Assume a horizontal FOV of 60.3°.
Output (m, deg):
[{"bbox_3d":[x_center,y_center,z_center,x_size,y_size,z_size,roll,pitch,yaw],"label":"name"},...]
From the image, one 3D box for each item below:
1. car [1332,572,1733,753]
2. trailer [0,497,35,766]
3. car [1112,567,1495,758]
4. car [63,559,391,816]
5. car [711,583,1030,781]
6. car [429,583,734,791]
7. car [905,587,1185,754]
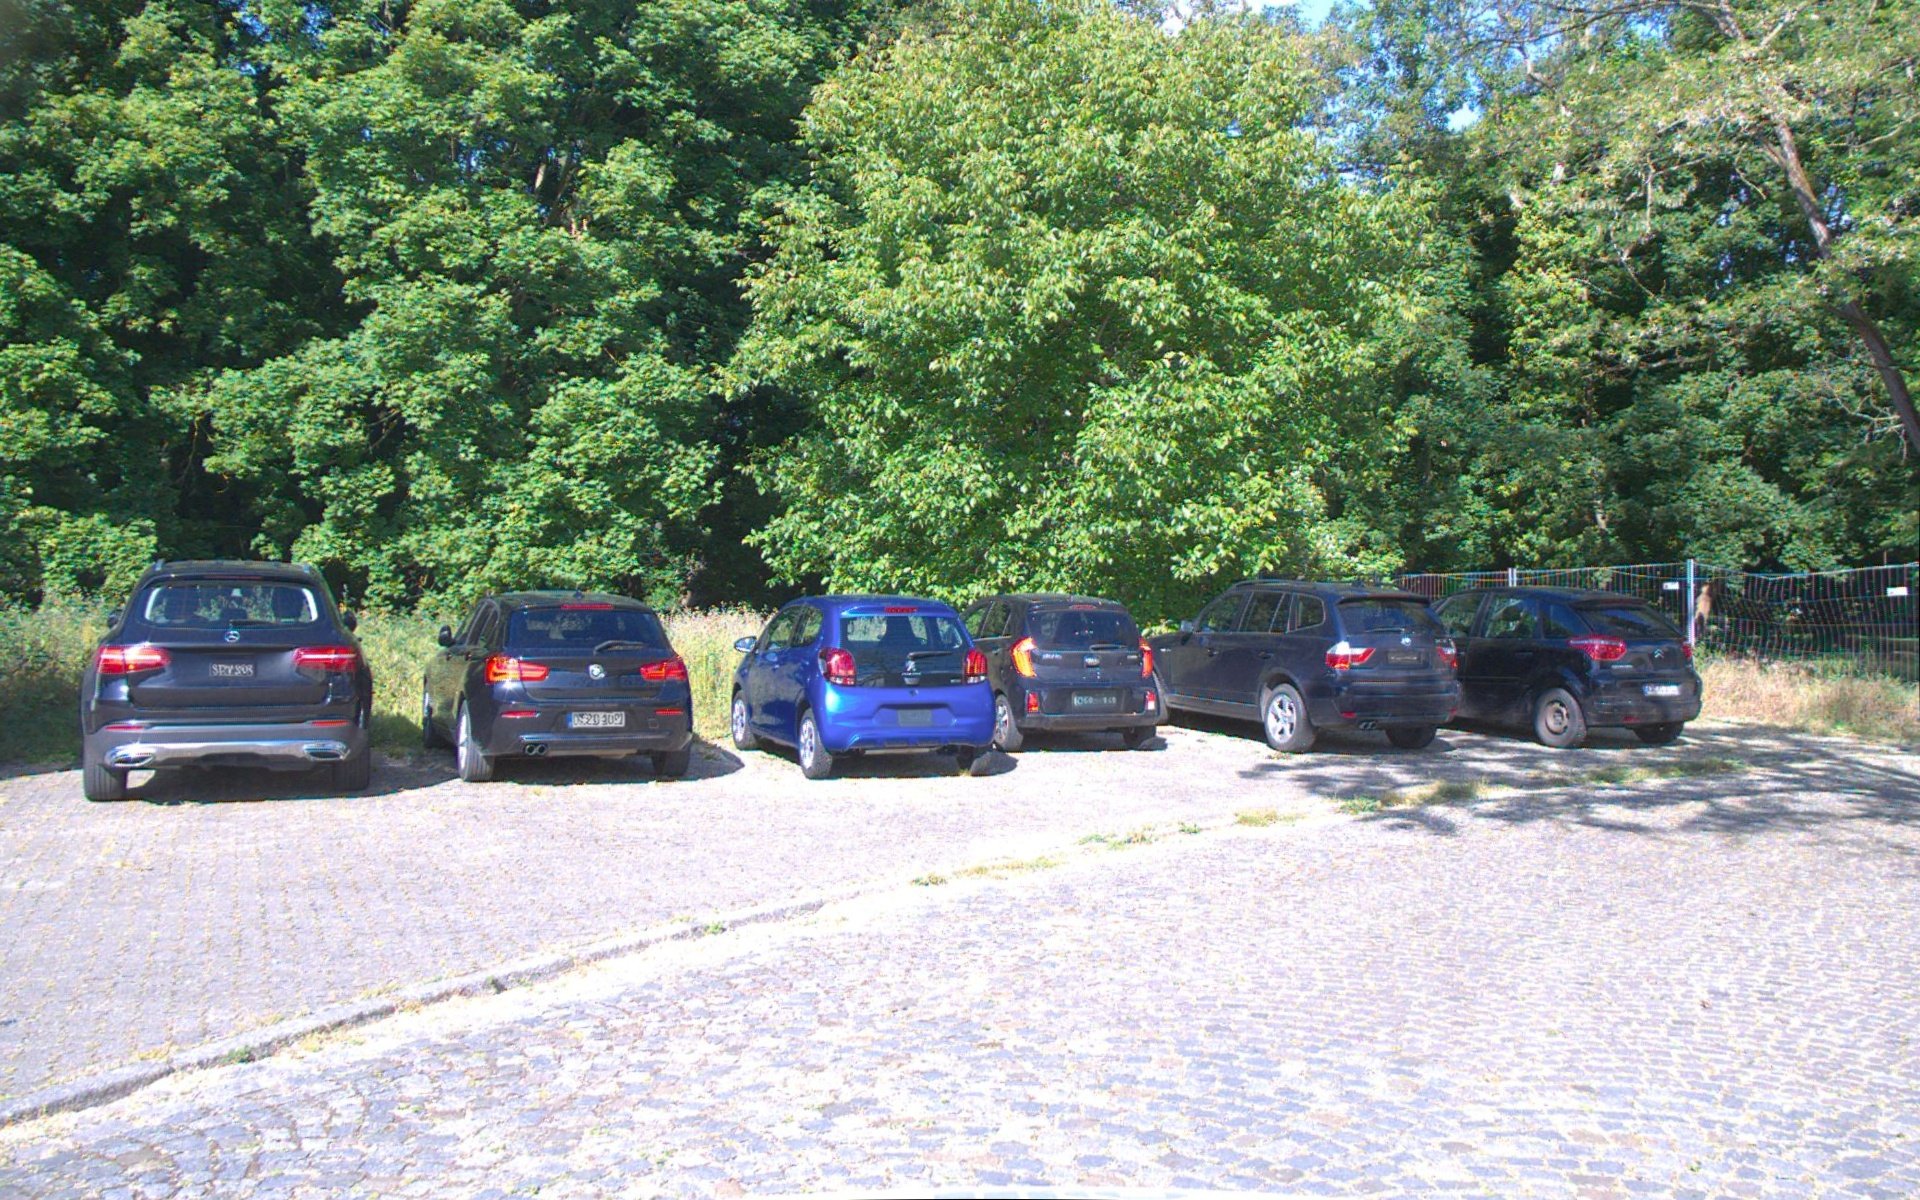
[{"bbox_3d":[6.360,0.589,18.902,1.802,1.616,4.236,0,4,-27],"label":"car"},{"bbox_3d":[-8.315,0.236,12.611,1.793,2.086,2.832,1,1,-22],"label":"trailer"},{"bbox_3d":[3.503,0.559,17.737,1.850,1.659,4.241,1,2,-25],"label":"car"},{"bbox_3d":[-5.538,0.526,12.693,1.937,1.617,4.102,1,1,-23],"label":"car"},{"bbox_3d":[-0.942,0.632,14.935,1.755,1.484,3.765,1,1,-22],"label":"car"},{"bbox_3d":[-3.290,0.614,13.824,1.863,1.436,3.763,1,1,-23],"label":"car"},{"bbox_3d":[0.753,0.643,17.147,1.711,1.476,3.707,1,1,-17],"label":"car"}]
